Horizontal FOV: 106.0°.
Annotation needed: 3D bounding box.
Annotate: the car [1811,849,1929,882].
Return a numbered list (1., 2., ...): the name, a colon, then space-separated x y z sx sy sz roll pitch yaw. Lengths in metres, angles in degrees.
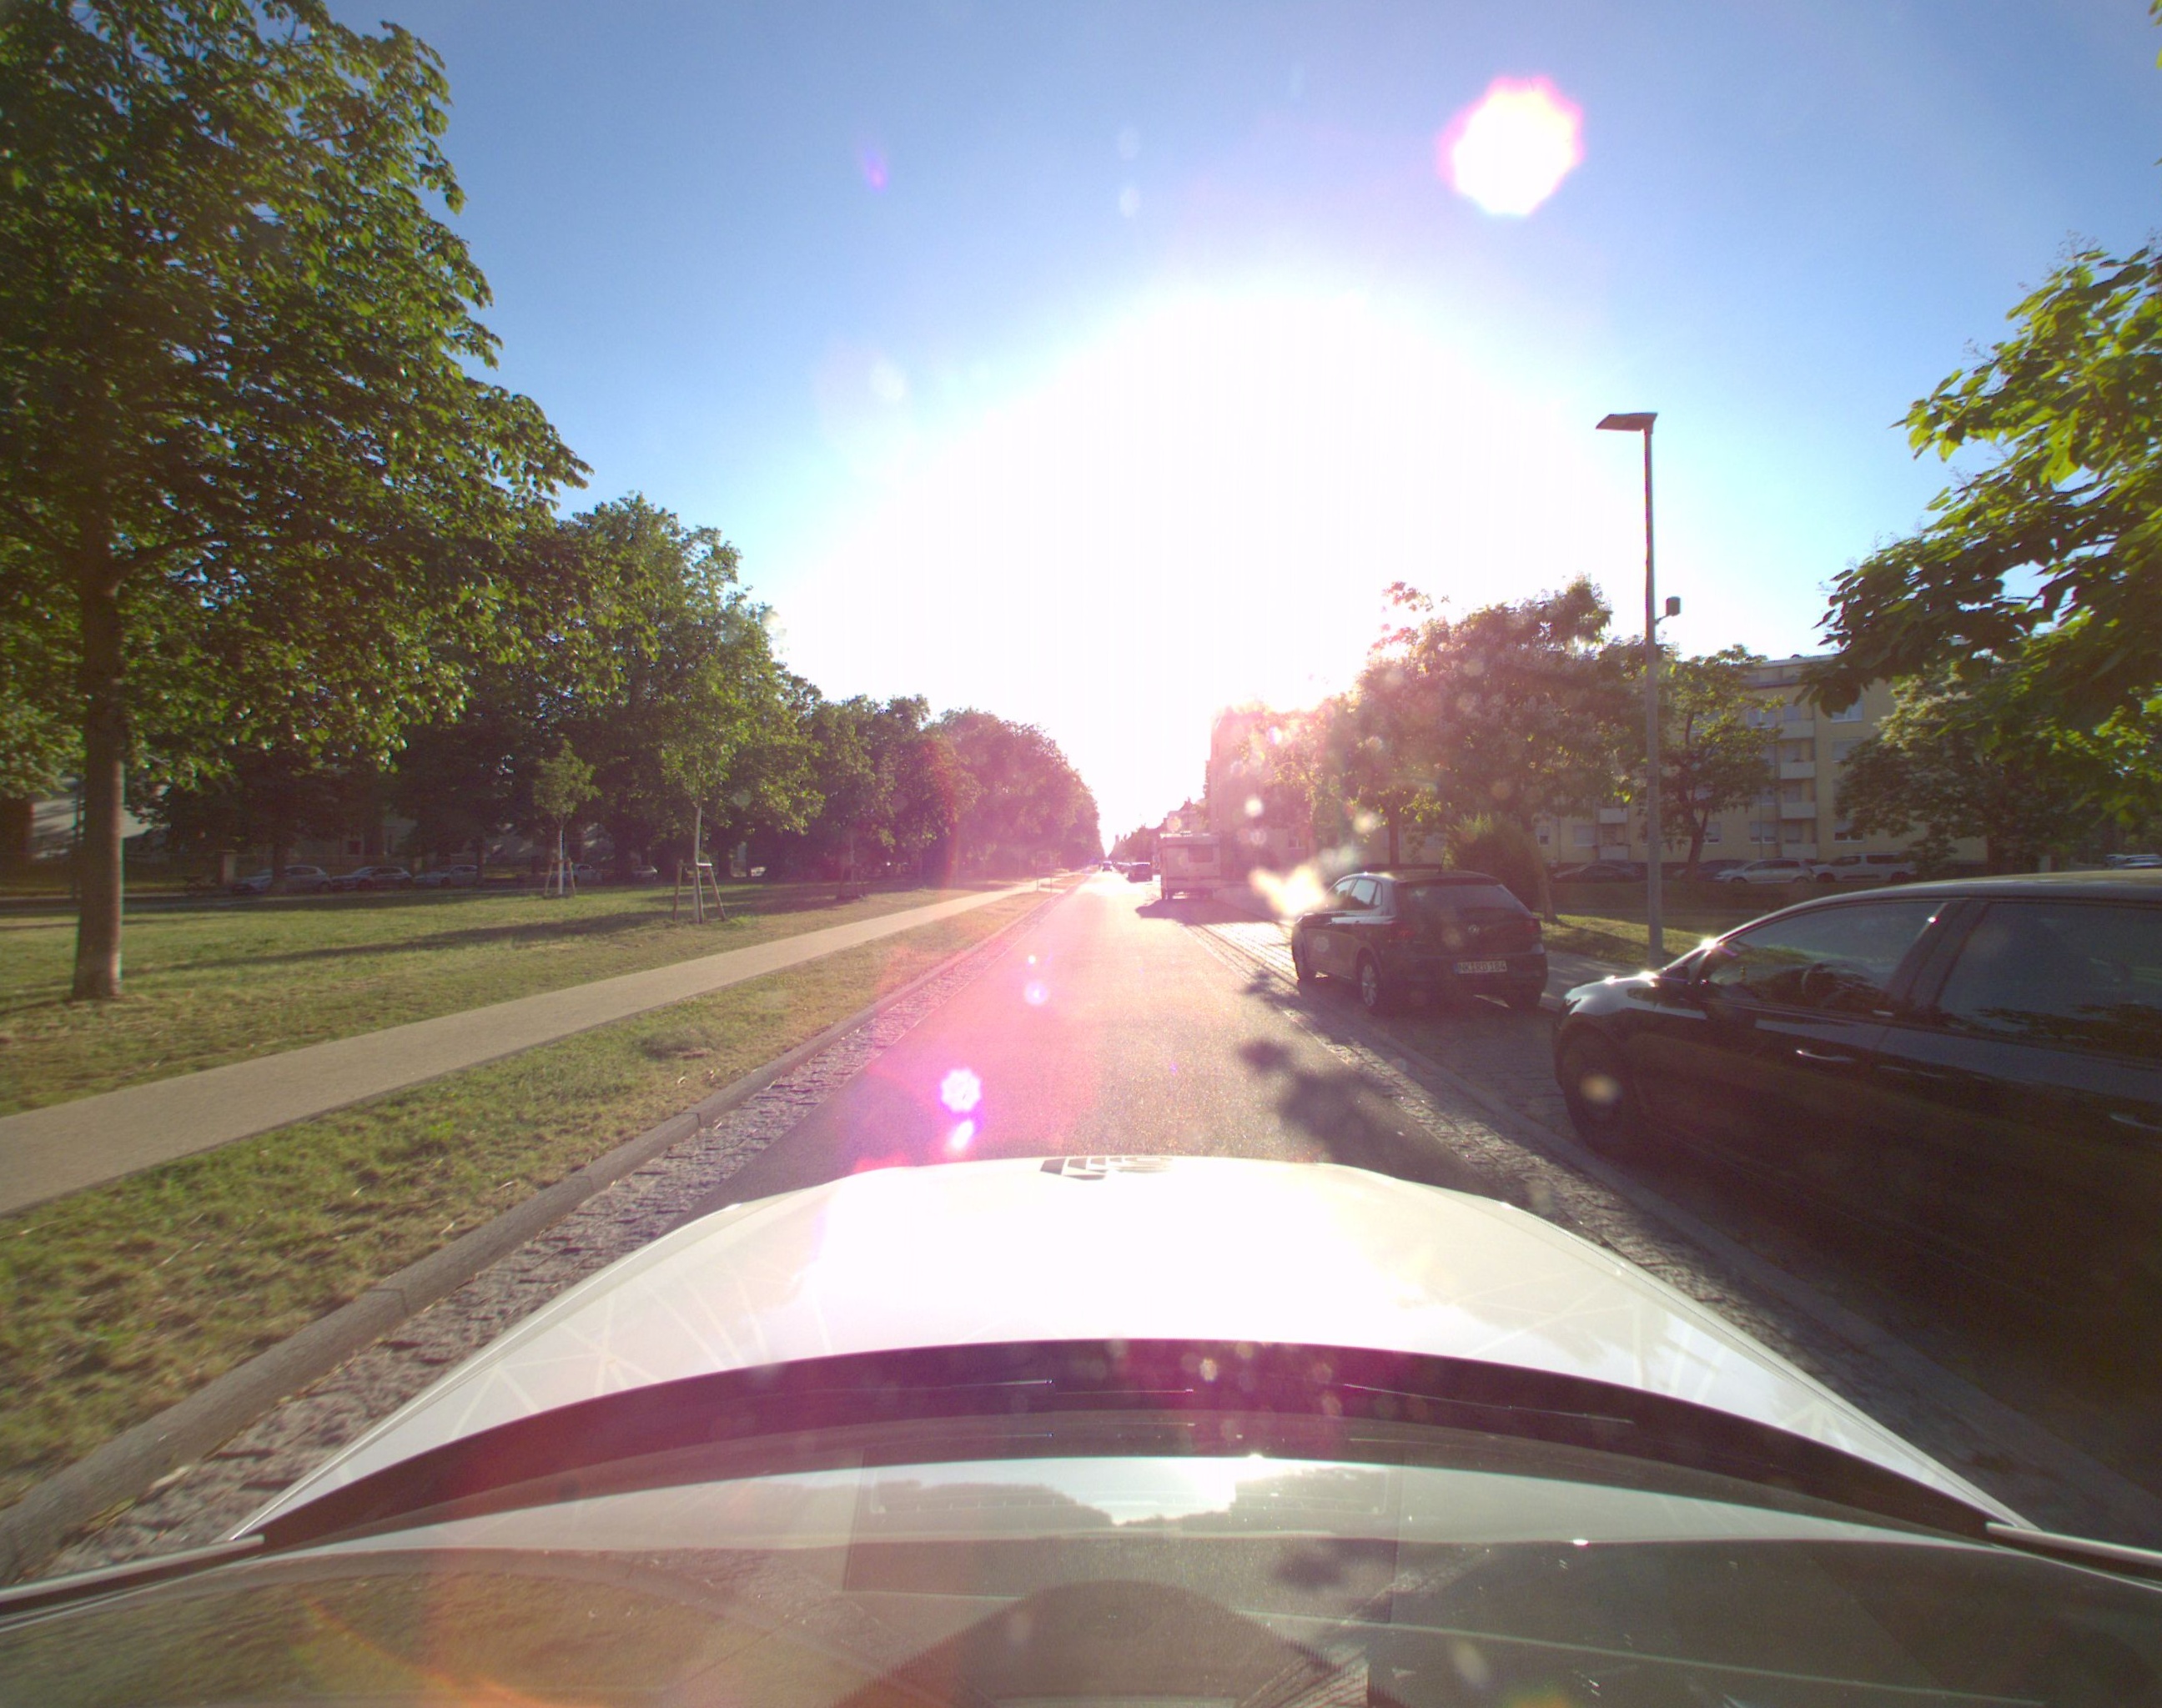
1. car: 43.838 0.687 45.380 4.467 1.746 1.892 -2 -2 37

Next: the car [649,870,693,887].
1. car: -39.374 2.322 78.269 1.985 1.508 4.117 -1 -1 3

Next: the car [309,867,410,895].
1. car: -40.540 1.497 45.867 1.985 1.508 4.002 -1 -1 3

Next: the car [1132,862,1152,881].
1. car: 5.665 1.654 75.758 1.620 1.669 4.250 -1 -1 2

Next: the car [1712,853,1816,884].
1. car: 35.968 0.787 43.013 3.949 1.552 1.620 -1 -1 29

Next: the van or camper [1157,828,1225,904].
1. van or camper: 4.521 0.570 34.469 2.226 2.904 5.673 -1 -2 1

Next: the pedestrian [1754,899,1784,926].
1. pedestrian: 21.891 1.855 25.919 0.470 0.813 0.612 0 -1 3

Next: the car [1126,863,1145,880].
1. car: 5.815 1.842 86.842 1.984 1.717 4.005 -1 -1 5

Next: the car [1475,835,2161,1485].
1. car: 3.451 0.743 3.176 1.726 1.551 4.422 -1 -1 1

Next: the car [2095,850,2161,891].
1. car: 47.036 0.690 34.751 1.891 1.746 4.470 1 -2 -45

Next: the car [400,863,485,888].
1. car: -40.199 1.359 51.403 1.985 1.508 4.117 -1 -1 3

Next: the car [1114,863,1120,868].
1. car: 10.113 3.333 229.356 1.620 1.410 4.250 -1 -1 2

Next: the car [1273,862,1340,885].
1. car: 15.479 1.347 56.093 4.174 1.531 2.003 -1 -1 6

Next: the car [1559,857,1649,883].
1. car: 33.040 1.001 51.576 4.473 1.569 1.890 -1 -1 20

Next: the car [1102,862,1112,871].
1. car: 4.804 2.312 151.124 1.819 1.669 4.250 -1 -1 1

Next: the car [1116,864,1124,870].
1. car: 8.544 2.840 177.143 1.620 1.410 4.250 -1 -1 2

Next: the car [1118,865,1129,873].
1. car: 7.297 2.535 139.910 1.620 1.410 4.250 -1 -1 2

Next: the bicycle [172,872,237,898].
1. bicycle: -42.460 1.479 39.504 0.655 1.175 2.332 -1 -1 -1

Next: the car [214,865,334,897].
1. car: -40.758 1.332 41.291 1.985 1.508 4.002 -1 -1 3

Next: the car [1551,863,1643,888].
1. car: 29.309 1.203 46.403 4.158 1.358 1.702 -1 -1 22

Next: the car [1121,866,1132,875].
1. car: 7.216 2.591 129.328 1.620 1.410 4.250 -1 -1 2

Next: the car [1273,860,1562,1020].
1. car: 3.659 0.843 9.758 1.622 1.464 4.246 -1 -1 -1

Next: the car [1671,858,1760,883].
1. car: 37.912 1.015 48.799 3.949 1.453 1.892 -1 -1 30

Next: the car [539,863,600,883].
1. car: -39.771 1.491 63.459 1.985 1.508 4.117 -1 -1 3

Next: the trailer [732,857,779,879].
1. trailer: -38.615 1.677 96.926 2.449 2.489 7.054 -1 -1 3
